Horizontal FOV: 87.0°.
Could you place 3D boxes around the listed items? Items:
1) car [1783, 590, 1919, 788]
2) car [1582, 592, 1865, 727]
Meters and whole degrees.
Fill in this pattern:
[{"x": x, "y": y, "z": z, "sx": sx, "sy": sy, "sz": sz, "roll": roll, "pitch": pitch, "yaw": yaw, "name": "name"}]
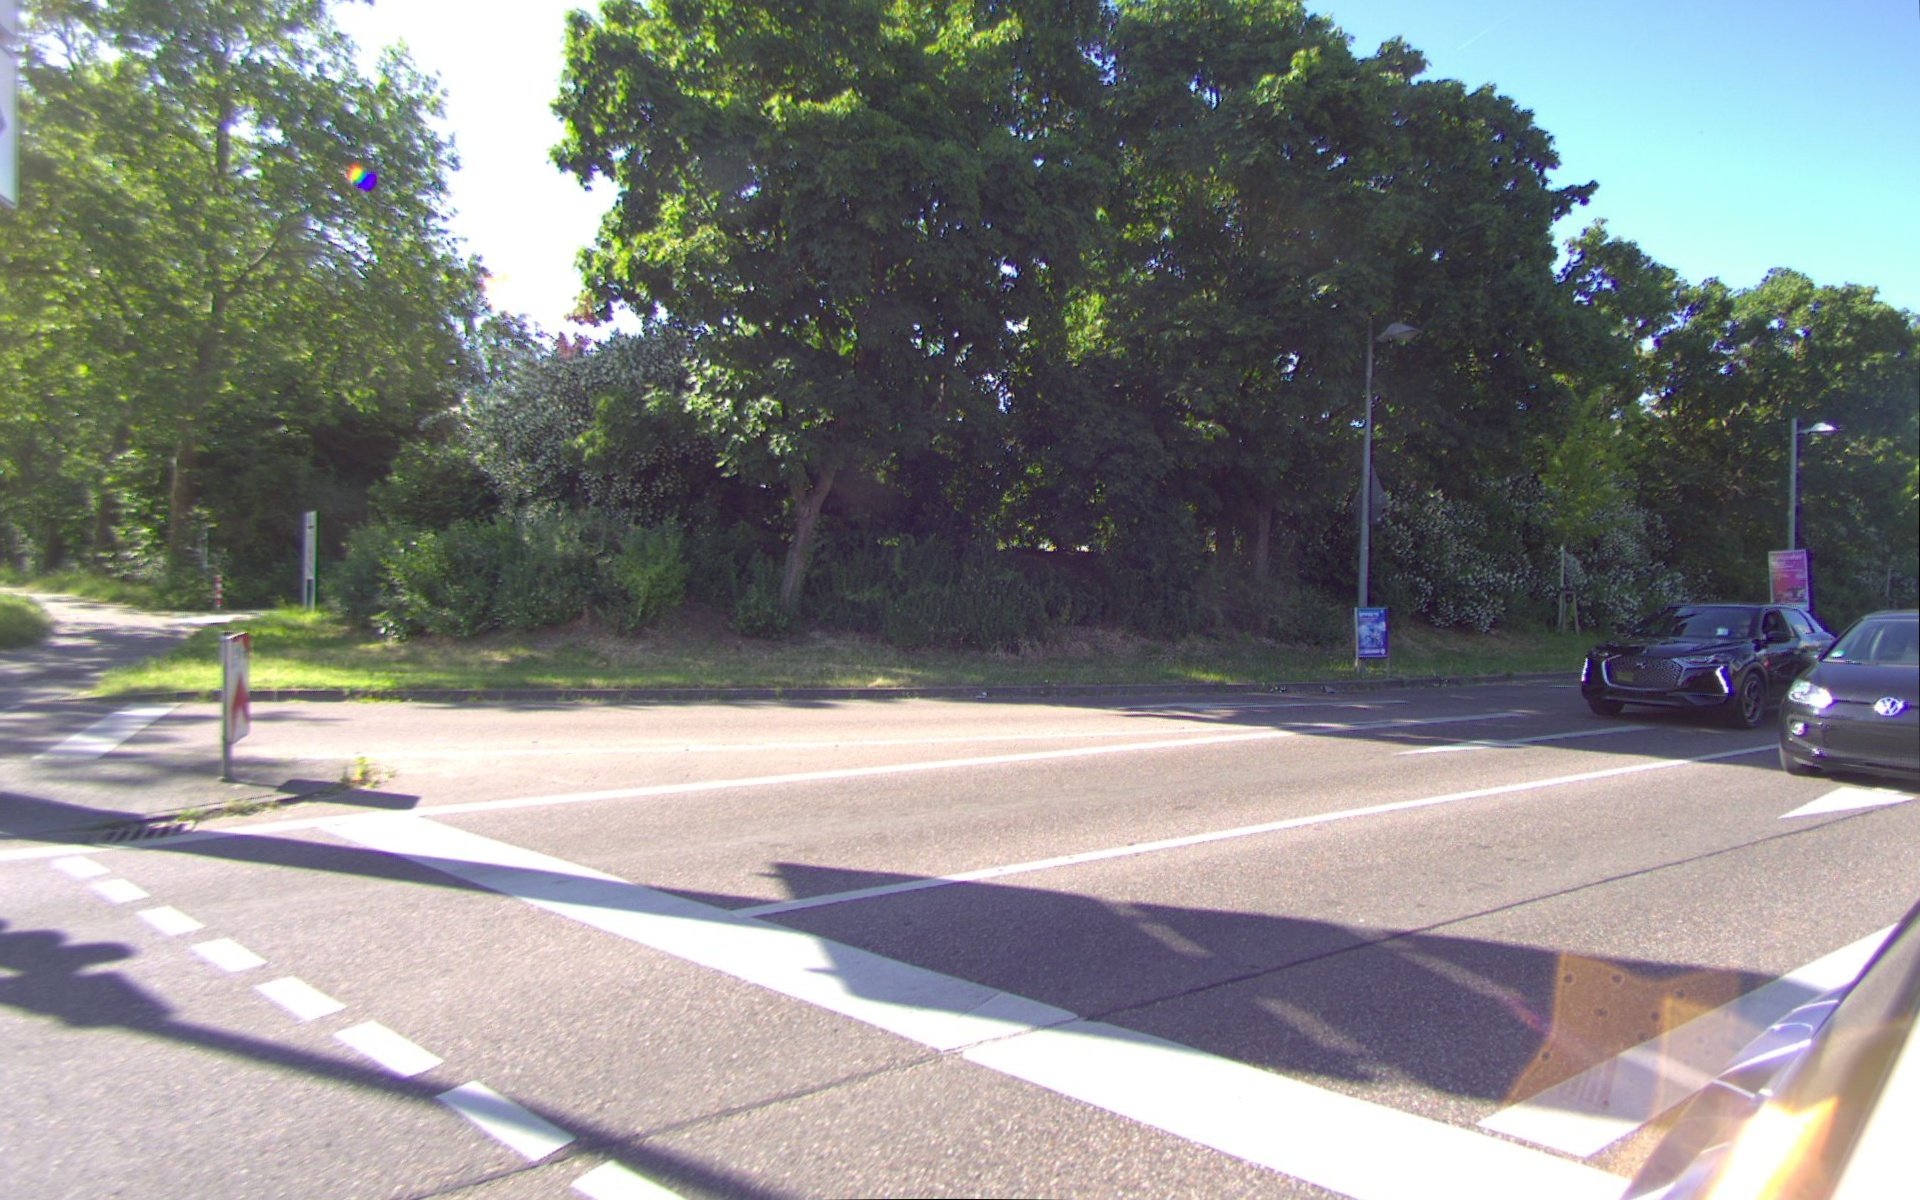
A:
[{"x": 8.770, "y": 0.694, "z": 8.749, "sx": 3.385, "sy": 1.512, "sz": 1.623, "roll": 0, "pitch": 0, "yaw": -33, "name": "car"}, {"x": 10.028, "y": 0.666, "z": 13.235, "sx": 3.886, "sy": 1.512, "sz": 1.716, "roll": 0, "pitch": 1, "yaw": -32, "name": "car"}]
